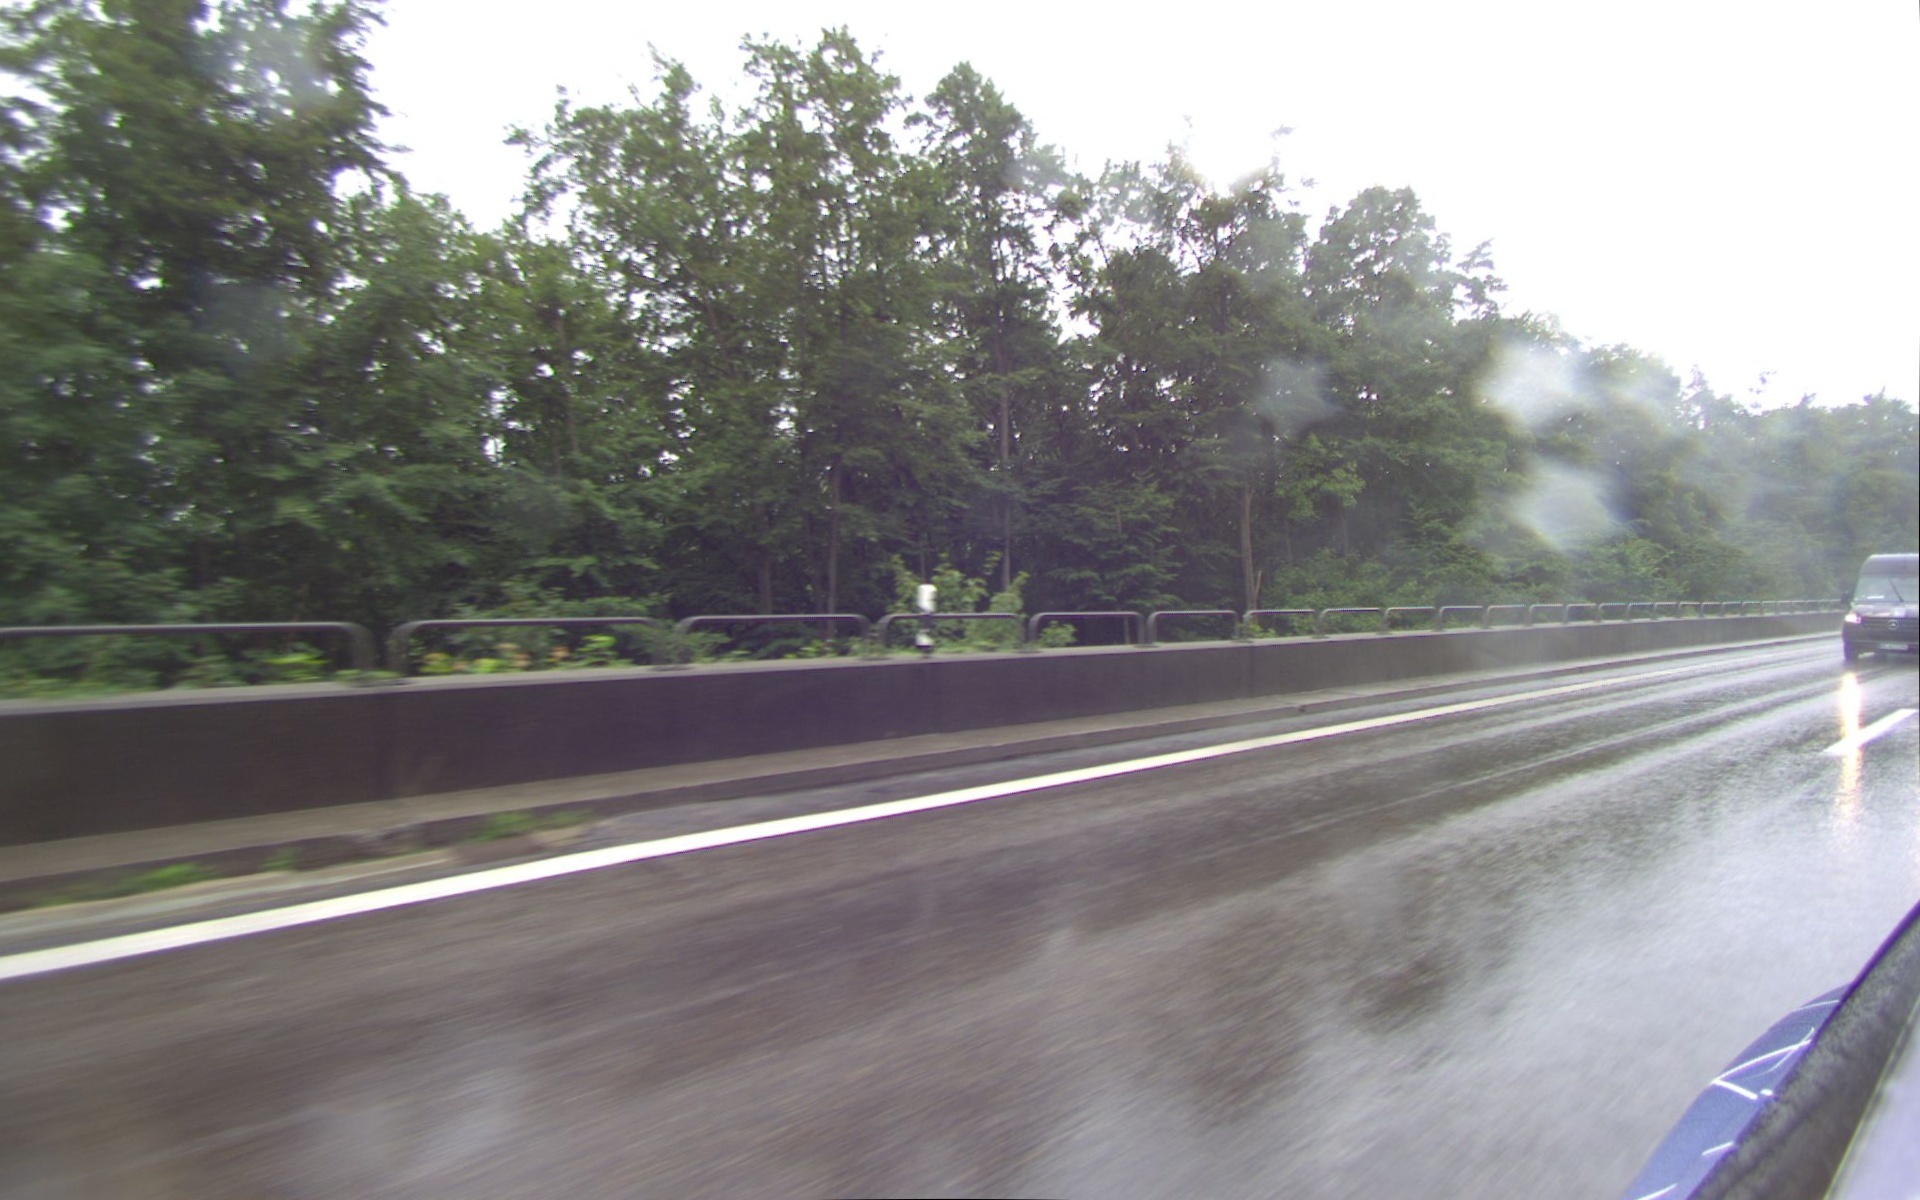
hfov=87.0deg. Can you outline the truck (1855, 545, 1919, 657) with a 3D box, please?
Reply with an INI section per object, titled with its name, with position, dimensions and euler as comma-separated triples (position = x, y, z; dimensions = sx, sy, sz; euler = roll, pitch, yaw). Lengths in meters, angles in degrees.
[truck]
position = 24.577, -0.003, 25.442
dimensions = 7.862, 2.527, 2.107
euler = 0, 0, -41
